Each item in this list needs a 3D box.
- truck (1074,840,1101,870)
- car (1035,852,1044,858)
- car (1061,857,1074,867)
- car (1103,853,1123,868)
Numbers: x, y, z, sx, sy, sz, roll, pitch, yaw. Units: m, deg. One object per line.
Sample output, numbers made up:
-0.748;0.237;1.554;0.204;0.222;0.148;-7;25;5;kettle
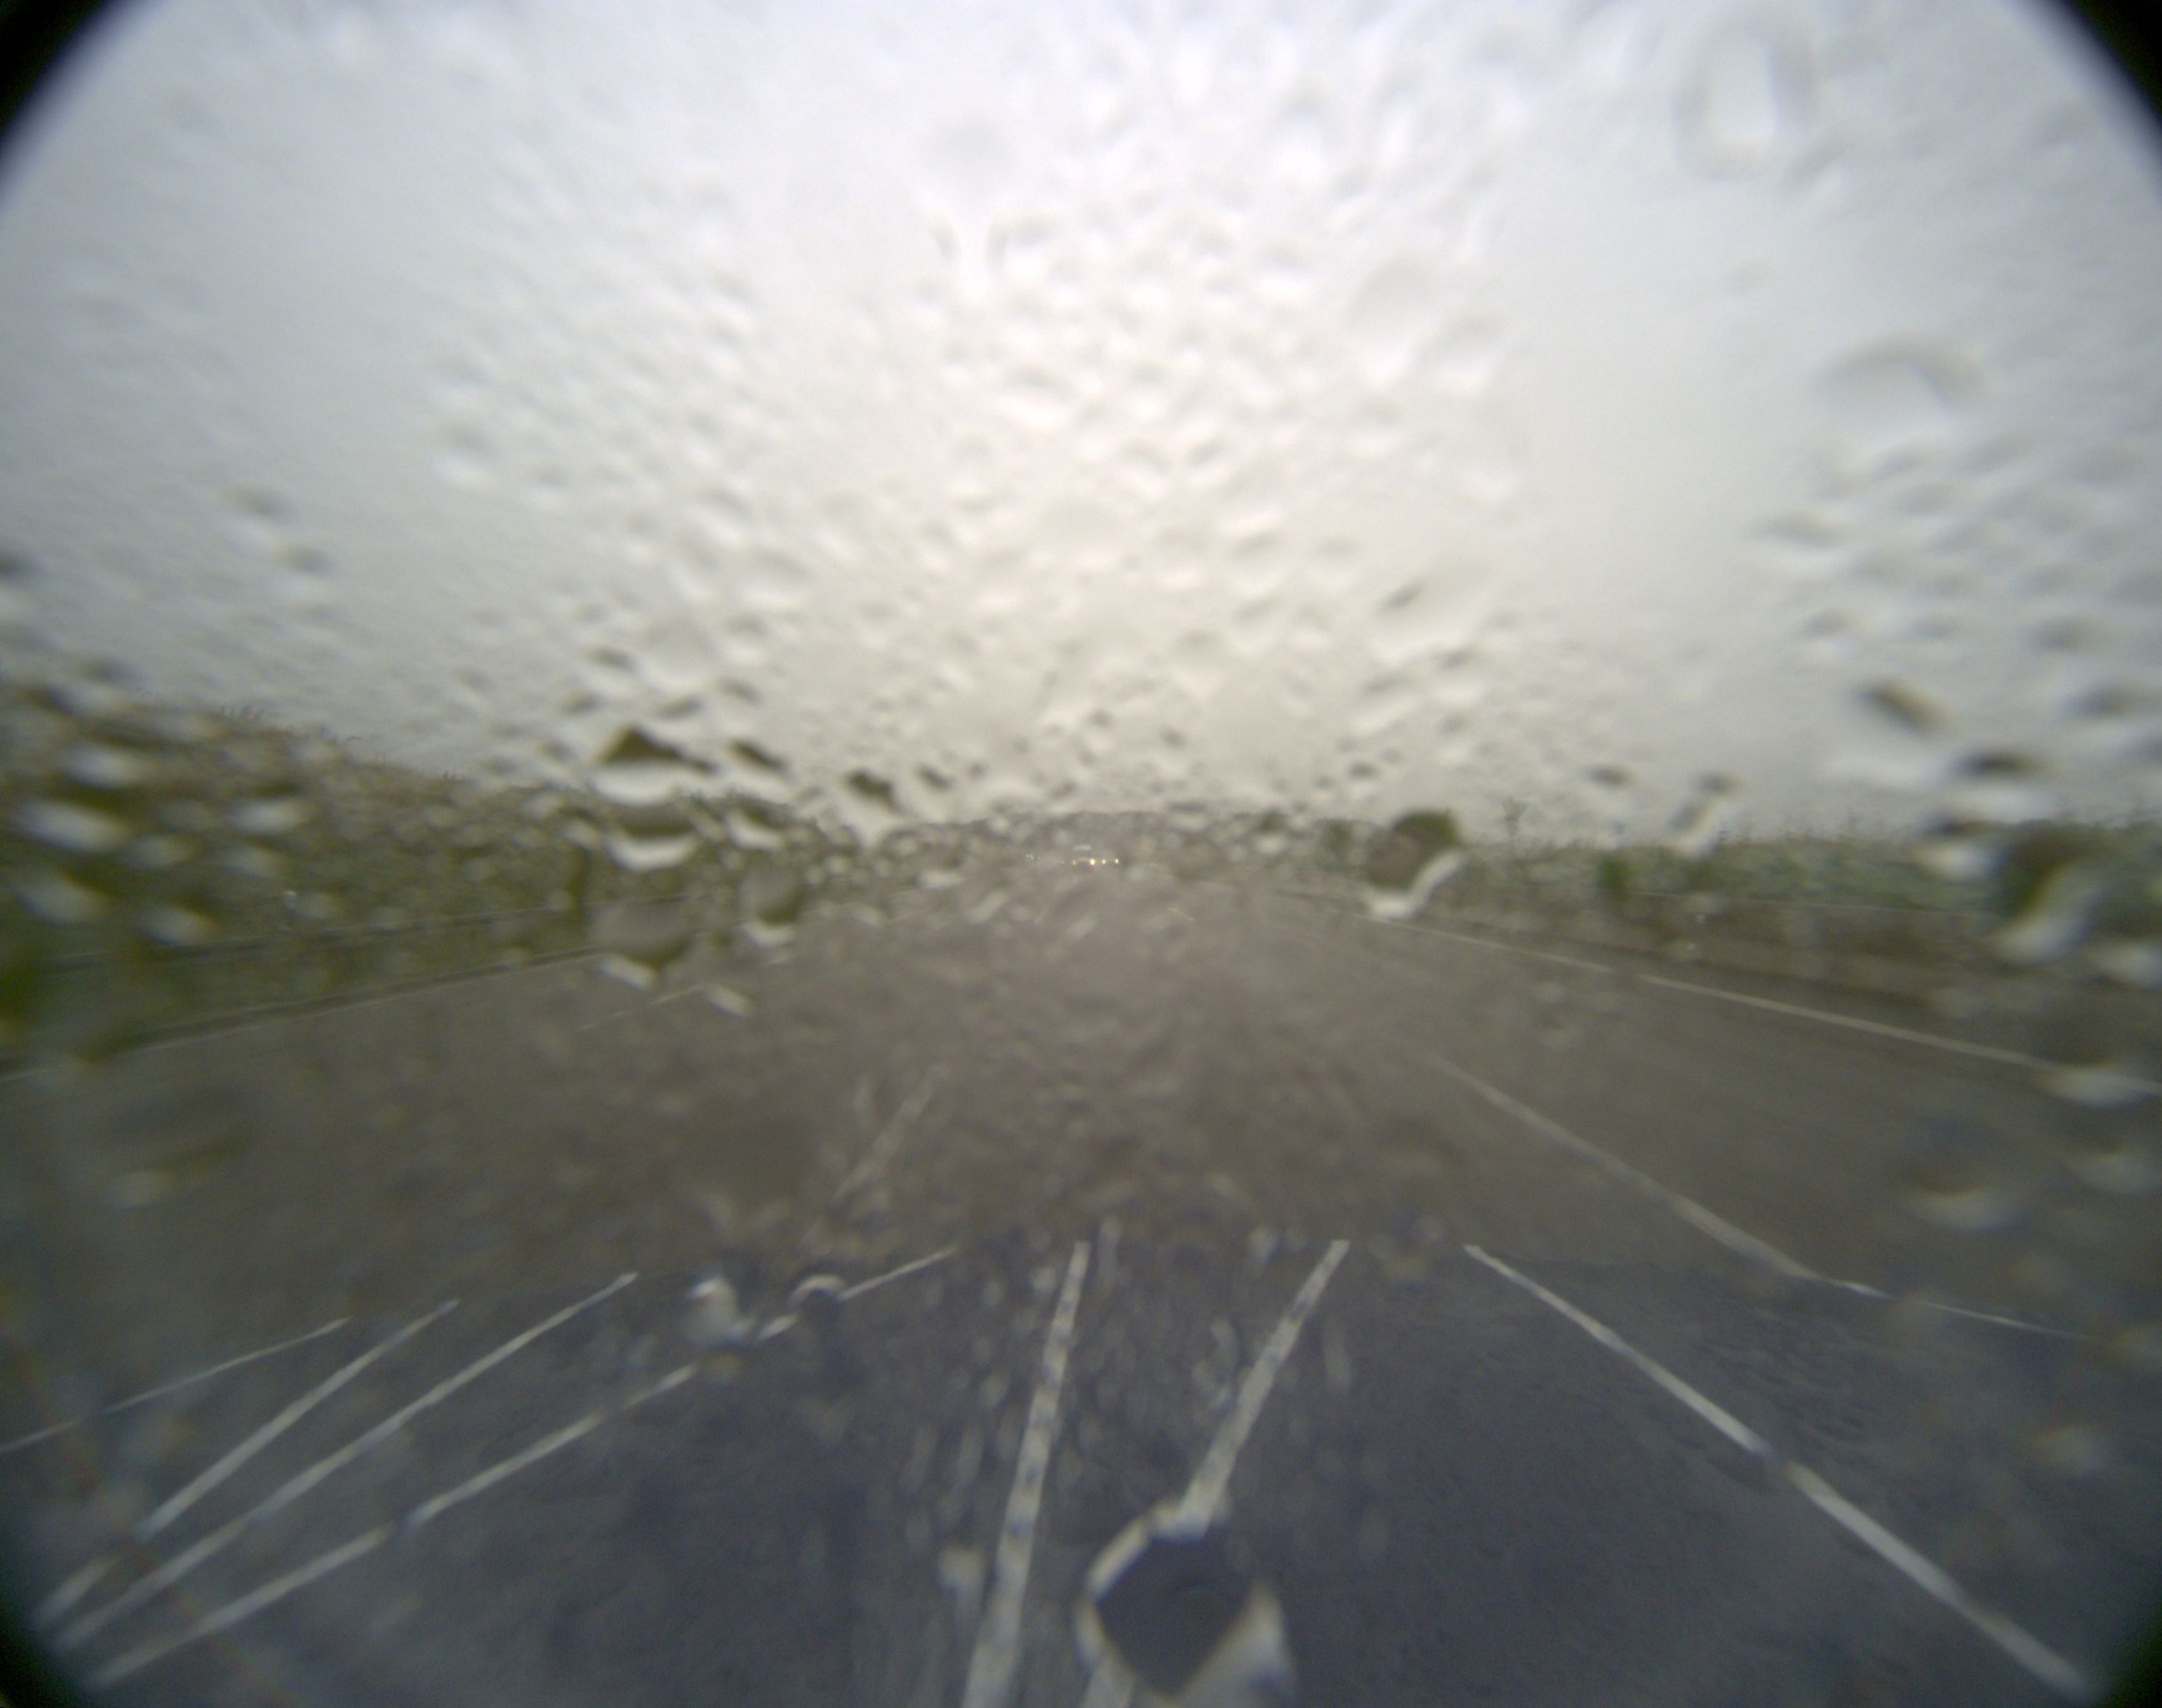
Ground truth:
0.535;0.019;73.223;1.999;2.699;7.995;-2;1;-4;truck
-11.184;0.345;204.425;1.998;1.543;4.001;-2;0;4;car
-2.131;1.322;124.381;1.998;1.521;4.000;-2;0;1;car
3.672;0.738;88.400;1.999;1.608;3.999;-2;0;-1;car
